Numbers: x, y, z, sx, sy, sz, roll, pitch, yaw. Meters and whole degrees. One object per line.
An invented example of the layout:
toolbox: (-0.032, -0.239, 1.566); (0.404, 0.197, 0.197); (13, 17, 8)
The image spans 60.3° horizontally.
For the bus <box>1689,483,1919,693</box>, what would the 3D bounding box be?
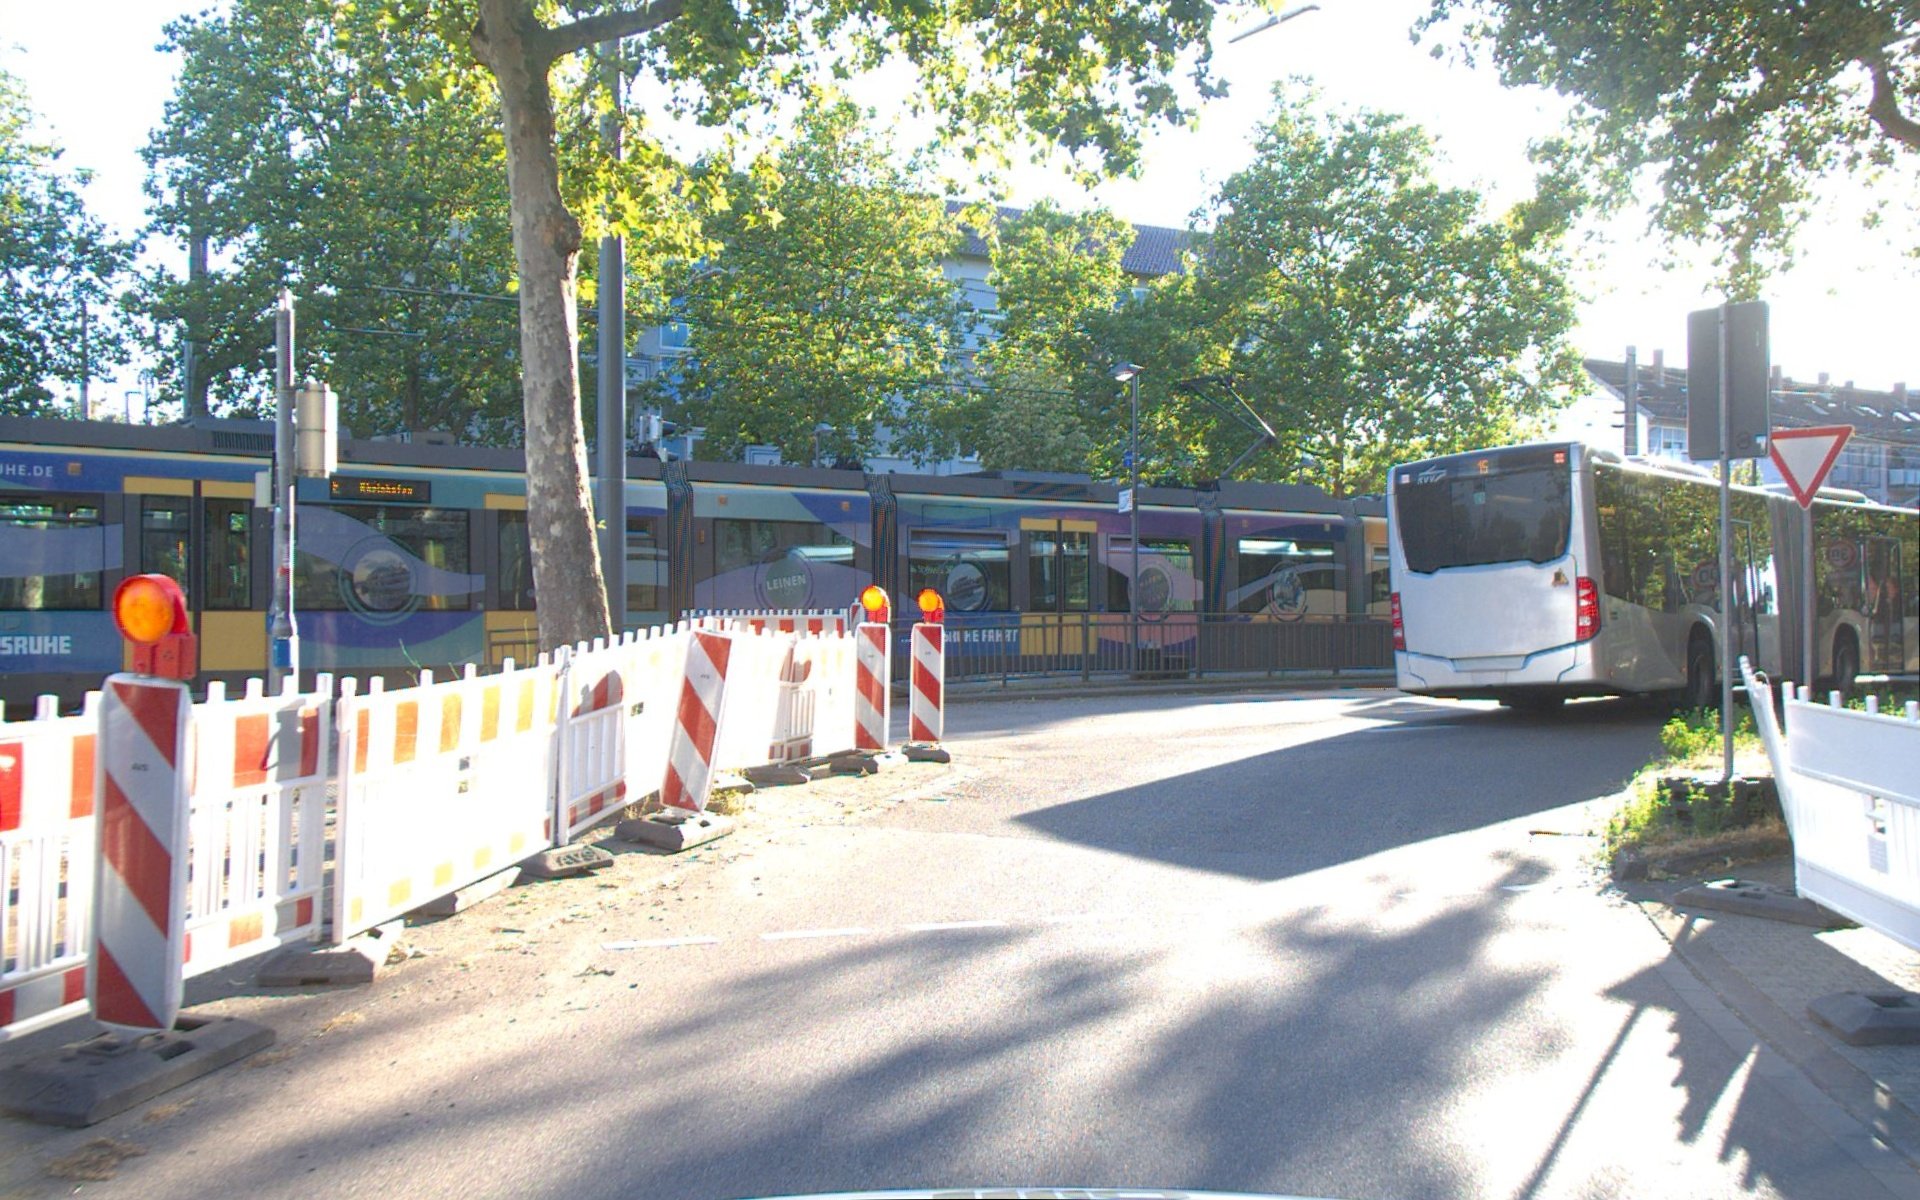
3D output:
bus: (16.021, -0.191, 28.800); (8.901, 3.161, 2.676); (0, 0, -42)

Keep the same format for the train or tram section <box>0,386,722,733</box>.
train or tram section: (-9.249, -0.409, 19.483); (13.262, 3.595, 2.819); (0, 0, -39)

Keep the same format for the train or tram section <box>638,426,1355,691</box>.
train or tram section: (1.127, -0.544, 27.203); (12.630, 3.611, 2.705); (0, 0, -34)

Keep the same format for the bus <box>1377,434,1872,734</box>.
bus: (9.484, -0.202, 22.482); (2.694, 3.193, 10.636); (1, 1, 42)

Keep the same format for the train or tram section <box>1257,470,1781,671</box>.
train or tram section: (11.926, -0.512, 34.183); (13.162, 3.581, 2.620); (0, 0, -32)
